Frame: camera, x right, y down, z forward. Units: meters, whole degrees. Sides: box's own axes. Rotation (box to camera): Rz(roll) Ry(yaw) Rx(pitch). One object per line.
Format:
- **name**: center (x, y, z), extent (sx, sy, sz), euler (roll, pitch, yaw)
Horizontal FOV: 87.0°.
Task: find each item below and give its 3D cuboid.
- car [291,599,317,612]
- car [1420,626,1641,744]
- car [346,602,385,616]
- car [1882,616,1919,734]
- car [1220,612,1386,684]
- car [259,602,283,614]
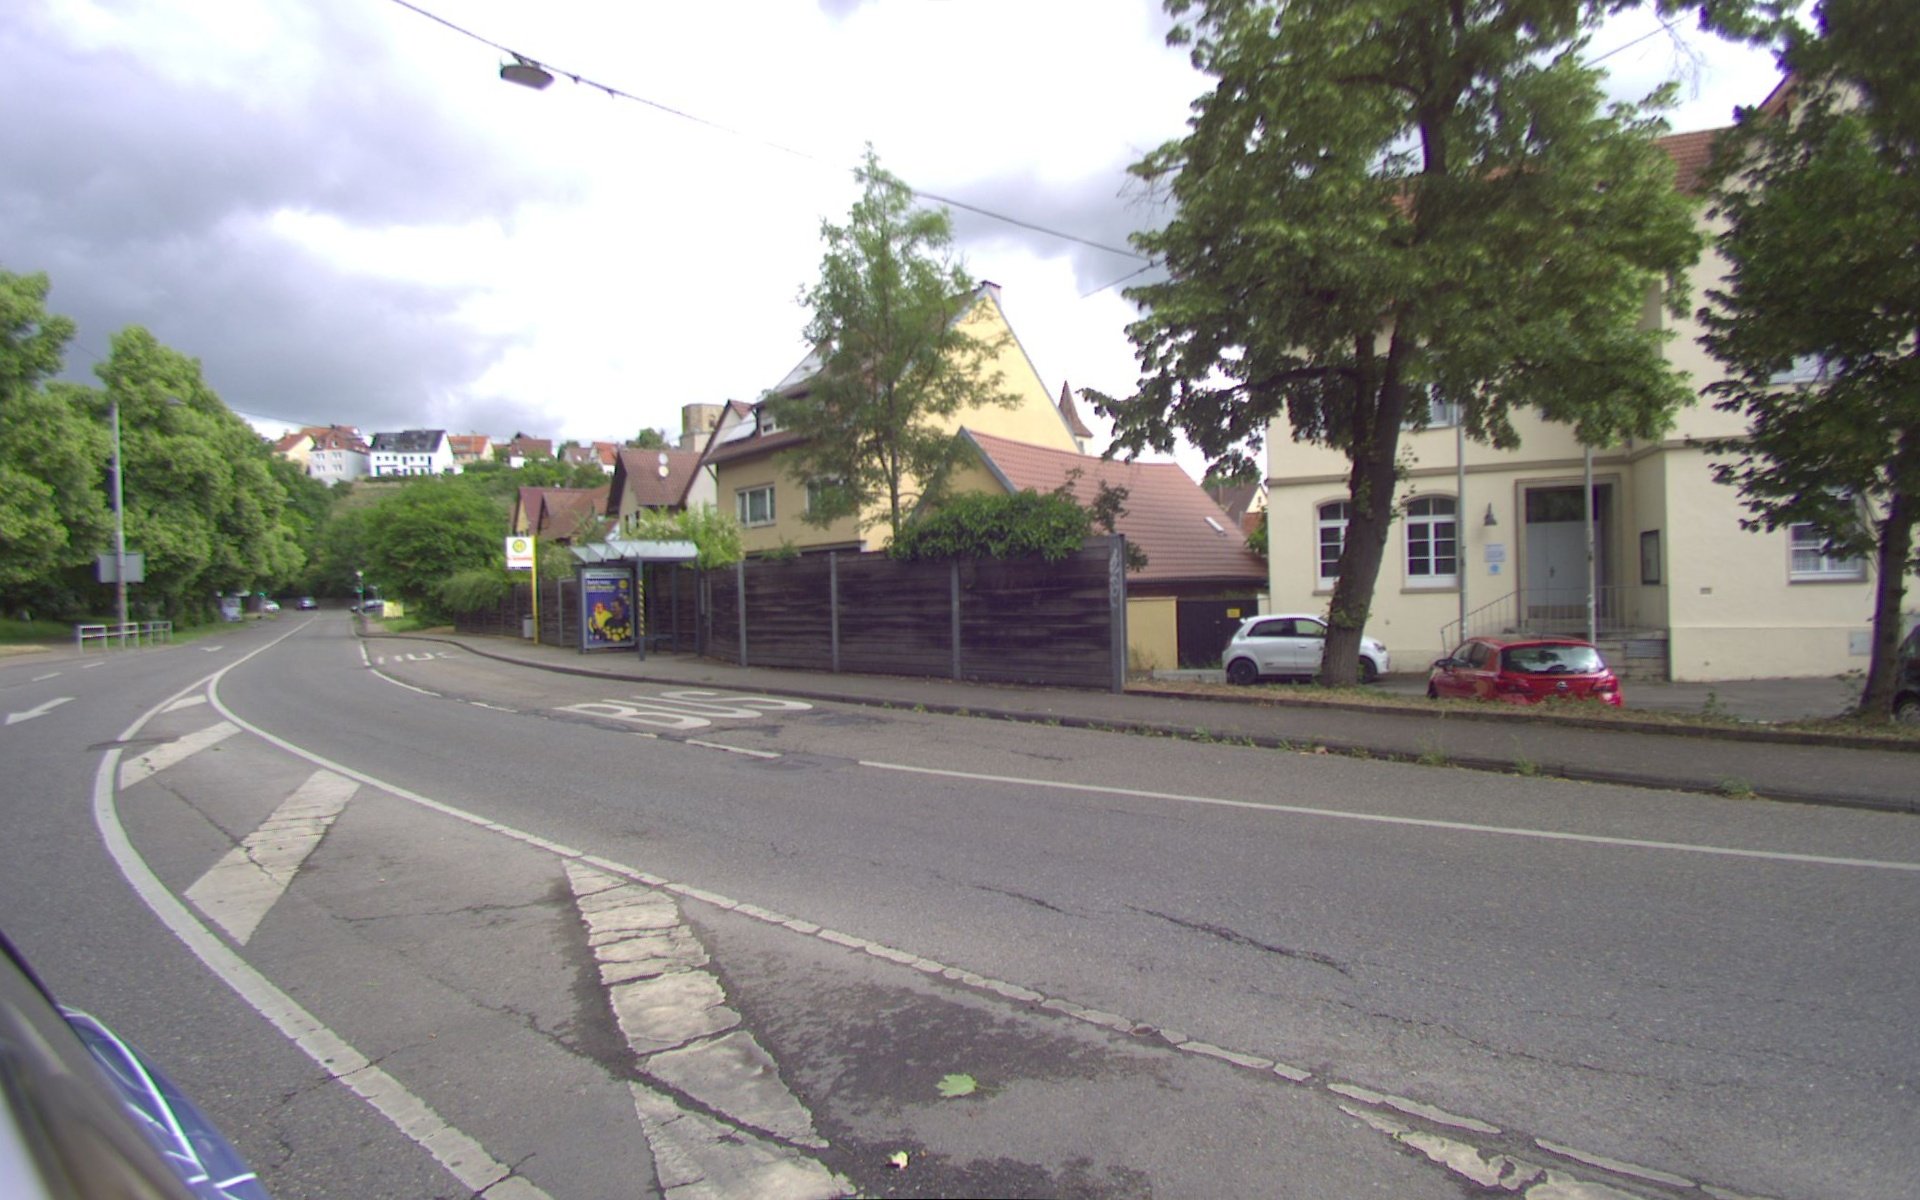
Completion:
- **car**: center (-89.795, 0.736, 138.518), extent (3.999, 1.630, 1.972), euler (-1, 0, 42)
- **car**: center (8.176, 1.145, 14.882), extent (1.644, 1.393, 3.708), euler (-1, 0, 10)
- **car**: center (-67.961, 1.042, 115.728), extent (3.619, 1.596, 1.771), euler (-1, 0, -25)
- **car**: center (12.634, 0.933, 11.314), extent (1.626, 1.450, 3.567), euler (-1, 0, 7)
- **car**: center (7.722, 1.054, 22.896), extent (3.411, 1.490, 1.600), euler (-1, 0, 21)
- **car**: center (-95.712, 1.084, 140.586), extent (3.679, 1.536, 1.742), euler (-1, 0, 39)
